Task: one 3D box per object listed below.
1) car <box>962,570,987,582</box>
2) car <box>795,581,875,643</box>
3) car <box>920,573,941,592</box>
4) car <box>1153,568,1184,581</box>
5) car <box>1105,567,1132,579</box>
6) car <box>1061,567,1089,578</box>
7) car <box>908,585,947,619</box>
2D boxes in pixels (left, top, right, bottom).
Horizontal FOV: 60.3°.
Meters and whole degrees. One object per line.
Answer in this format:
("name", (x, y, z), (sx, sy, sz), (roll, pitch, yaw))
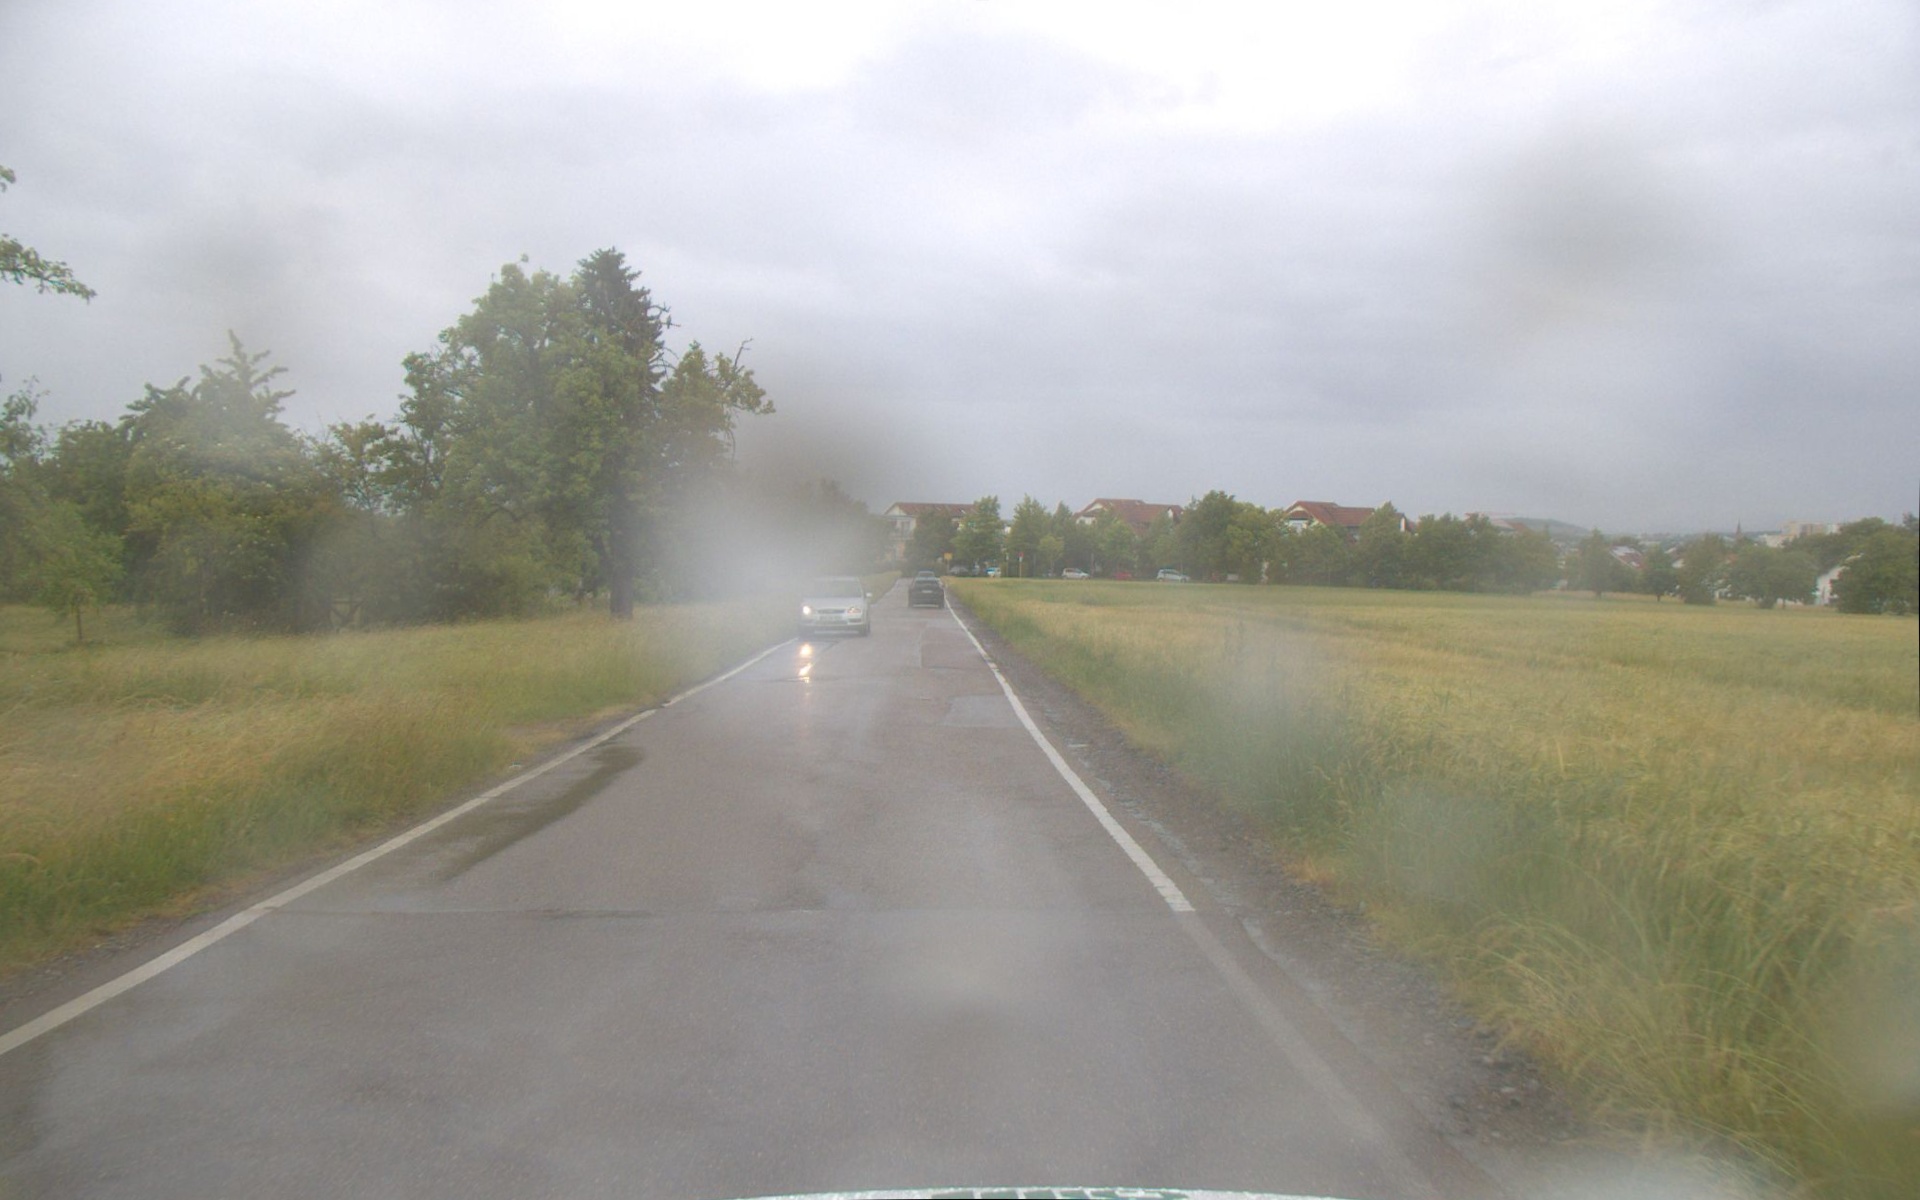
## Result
("car", (2.054, -3.429, 236.106), (1.632, 1.573, 3.987), (0, -1, 34))
("car", (-3.155, 0.320, 42.372), (1.704, 1.497, 4.122), (0, -1, 0))
("car", (-2.591, -1.520, 145.274), (1.777, 1.622, 4.000), (0, -1, 0))
("car", (25.176, -3.058, 199.829), (3.630, 1.591, 1.611), (0, -1, 12))
("car", (19.293, -3.316, 201.147), (3.124, 1.394, 1.573), (0, -1, 12))
("car", (14.069, -3.372, 202.198), (3.317, 1.394, 1.549), (0, -1, 12))
("car", (-1.571, 0.137, 81.003), (1.777, 1.622, 4.000), (0, -1, 0))
